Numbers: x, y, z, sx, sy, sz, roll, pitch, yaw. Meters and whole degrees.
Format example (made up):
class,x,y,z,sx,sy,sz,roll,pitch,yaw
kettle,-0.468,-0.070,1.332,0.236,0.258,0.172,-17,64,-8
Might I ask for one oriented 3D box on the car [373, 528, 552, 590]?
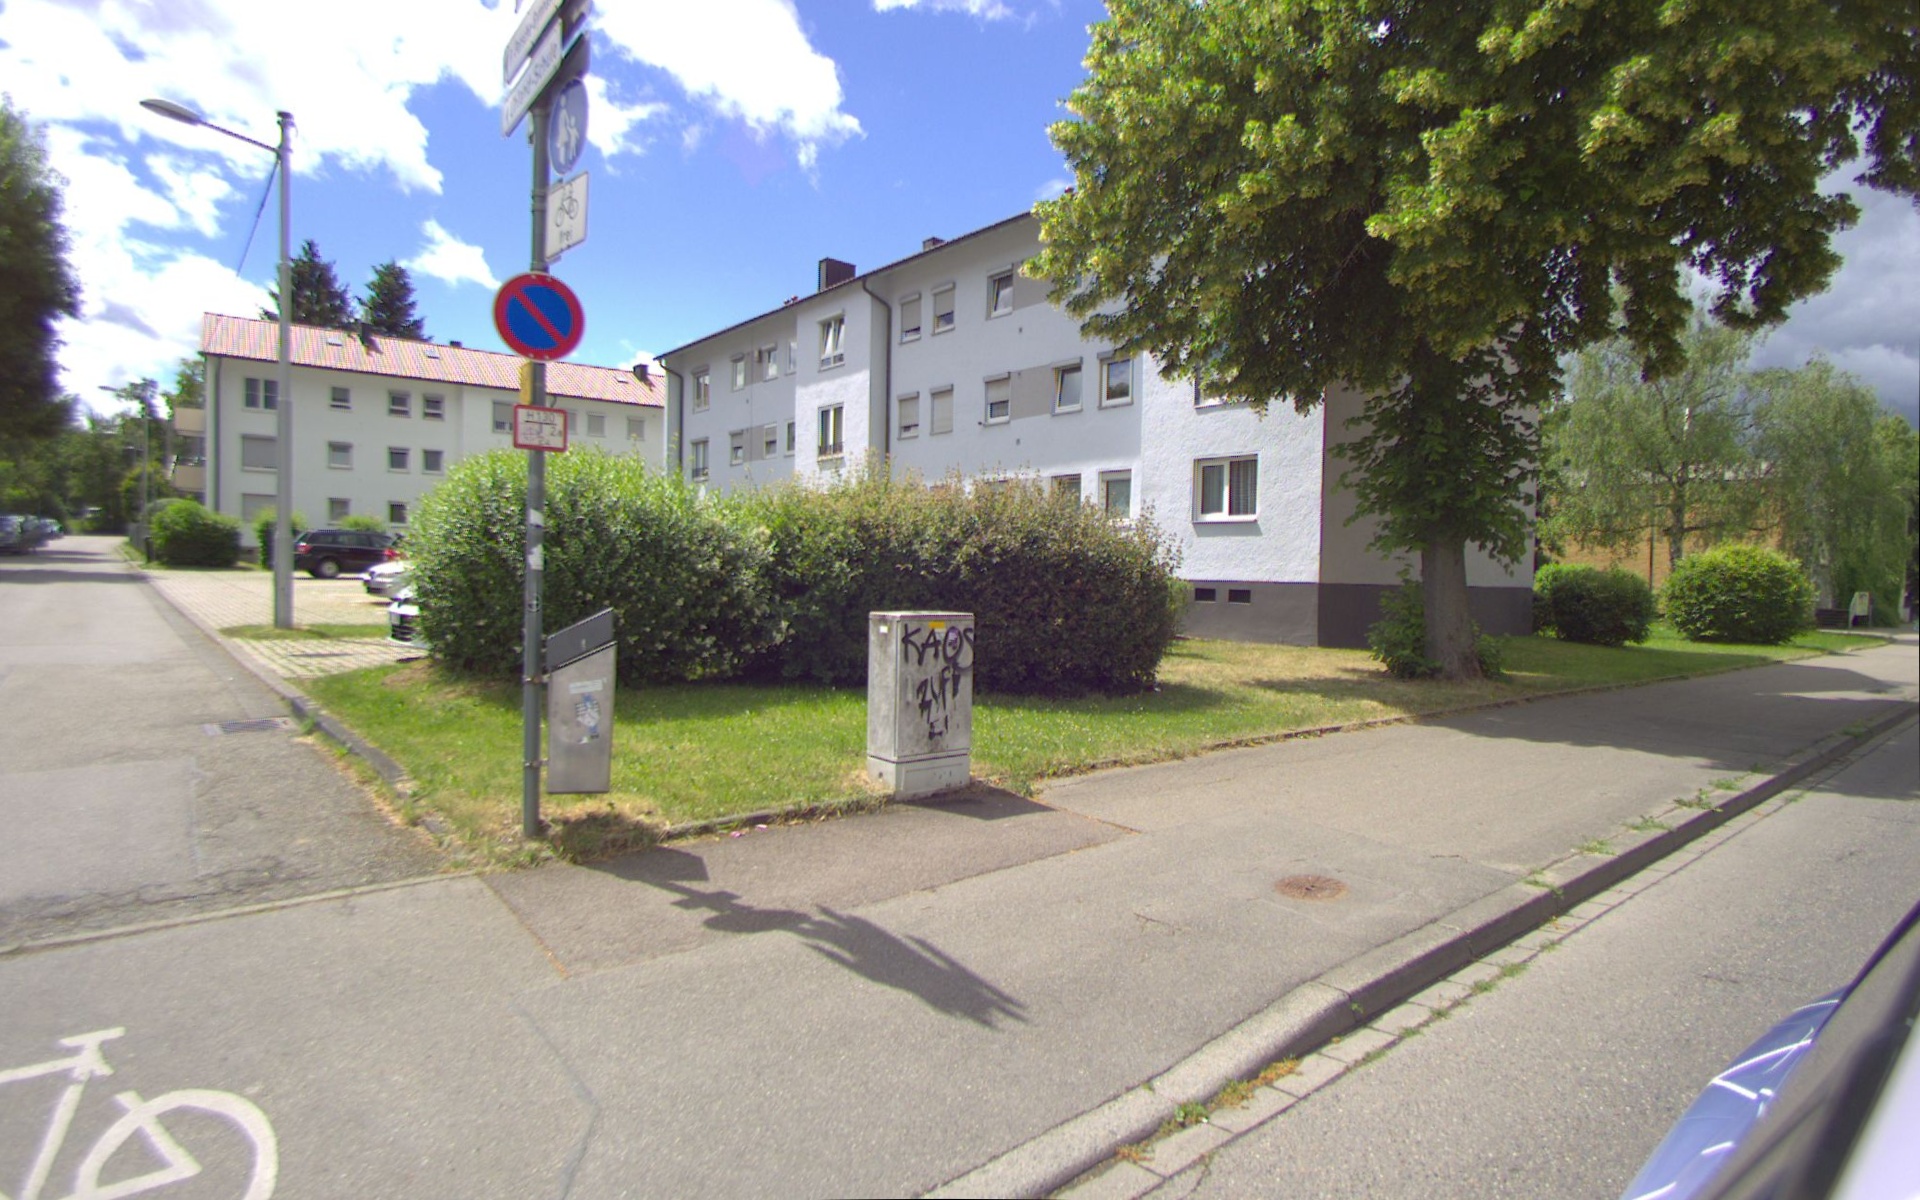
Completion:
class,x,y,z,sx,sy,sz,roll,pitch,yaw
car,-13.172,-1.059,26.921,4.007,1.501,1.627,0,3,-41

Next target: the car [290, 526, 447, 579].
class,x,y,z,sx,sy,sz,roll,pitch,yaw
car,-18.485,-1.467,31.717,4.007,1.501,1.627,0,3,-41

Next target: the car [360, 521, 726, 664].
class,x,y,z,sx,sy,sz,roll,pitch,yaw
car,-4.817,-0.078,11.944,3.677,1.434,1.678,0,0,-41

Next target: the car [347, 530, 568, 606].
class,x,y,z,sx,sy,sz,roll,pitch,yaw
car,-10.909,-0.676,22.088,4.007,1.501,1.769,0,3,-41

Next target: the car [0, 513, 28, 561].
class,x,y,z,sx,sy,sz,roll,pitch,yaw
car,-39.081,-2.570,41.034,1.544,1.854,3.737,-2,4,-38
